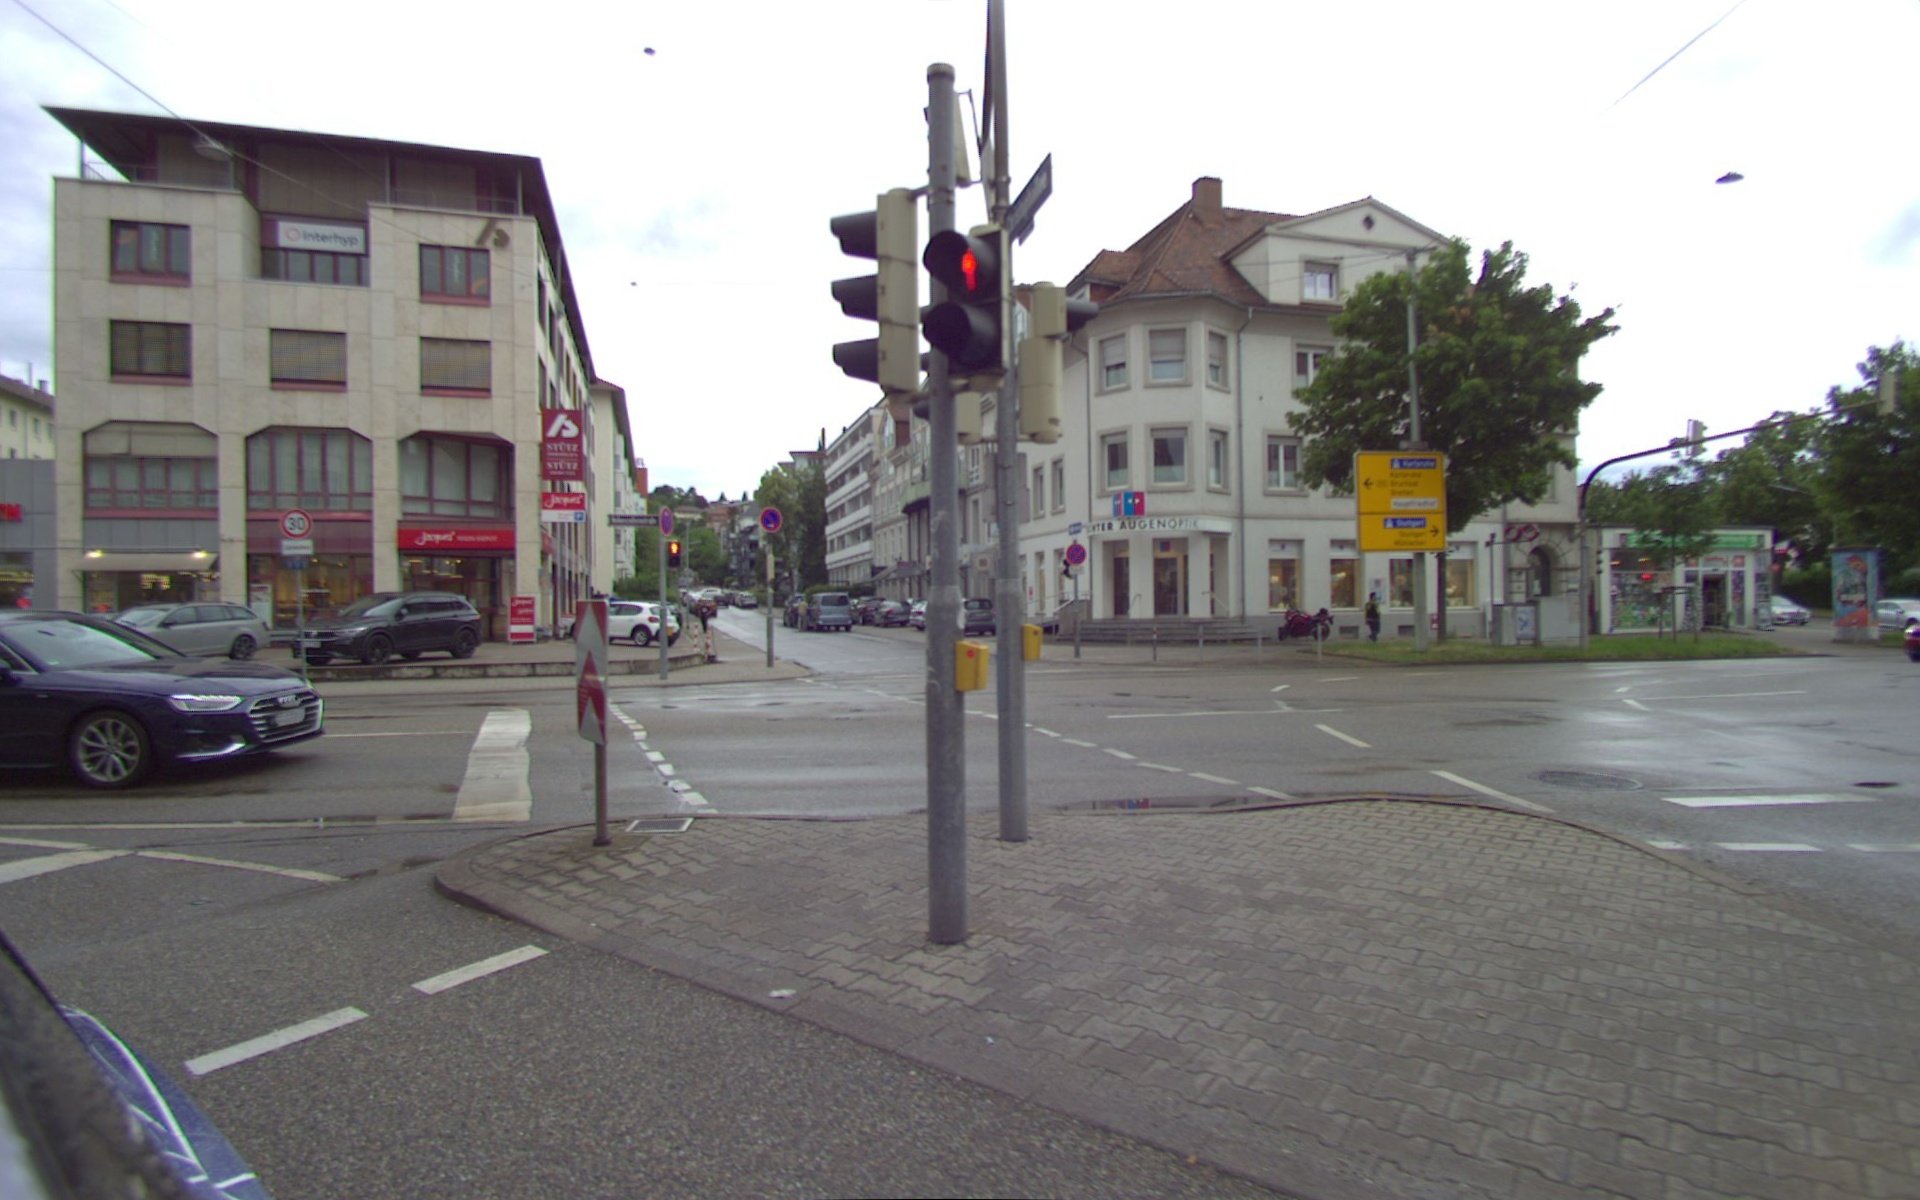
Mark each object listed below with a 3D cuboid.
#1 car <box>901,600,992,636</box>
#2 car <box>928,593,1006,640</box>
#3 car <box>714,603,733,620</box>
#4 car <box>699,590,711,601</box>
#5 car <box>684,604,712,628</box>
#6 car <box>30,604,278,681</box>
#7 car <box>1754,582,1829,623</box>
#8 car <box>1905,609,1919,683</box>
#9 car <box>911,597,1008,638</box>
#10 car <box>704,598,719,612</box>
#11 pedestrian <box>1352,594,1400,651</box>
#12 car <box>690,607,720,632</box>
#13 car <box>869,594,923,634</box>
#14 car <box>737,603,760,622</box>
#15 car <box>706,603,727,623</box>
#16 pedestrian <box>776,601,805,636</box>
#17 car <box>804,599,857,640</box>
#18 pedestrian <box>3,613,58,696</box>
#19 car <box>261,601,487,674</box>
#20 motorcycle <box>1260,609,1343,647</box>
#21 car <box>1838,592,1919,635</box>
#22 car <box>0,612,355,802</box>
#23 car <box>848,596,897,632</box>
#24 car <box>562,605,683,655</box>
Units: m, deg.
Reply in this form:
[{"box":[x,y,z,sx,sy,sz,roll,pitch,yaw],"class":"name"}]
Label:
[{"box":[-0.642,0.846,48.199,3.931,1.603,1.880,0,-1,-20],"class":"car"},{"box":[0.239,0.661,41.546,1.966,1.829,4.012,0,-1,-19],"class":"car"},{"box":[-28.394,1.411,121.668,1.966,2.029,4.012,-1,0,-17],"class":"car"},{"box":[-49.678,-0.877,196.976,1.966,2.029,4.012,-1,0,-17],"class":"car"},{"box":[-23.323,1.402,89.954,1.965,2.029,4.013,-1,0,-21],"class":"car"},{"box":[-18.313,0.886,23.315,1.863,1.538,4.451,0,0,7],"class":"car"},{"box":[43.439,0.151,52.986,1.988,2.029,3.968,-1,0,24],"class":"car"},{"box":[24.122,1.010,23.218,3.931,1.697,1.856,-1,-2,-19],"class":"car"},{"box":[-0.037,0.783,45.911,3.931,1.743,2.006,0,-1,-20],"class":"car"},{"box":[-37.044,0.790,150.717,1.966,2.029,4.012,-1,0,-16],"class":"car"},{"box":[12.926,0.679,31.476,0.918,1.721,0.968,-1,0,-22],"class":"pedestrian"},{"box":[-21.206,1.615,84.190,1.965,2.029,4.013,-1,0,-21],"class":"car"},{"box":[-3.450,0.745,53.913,1.966,2.029,4.012,-1,-1,-17],"class":"car"},{"box":[-22.444,1.325,107.302,2.073,2.029,4.012,-1,0,-16],"class":"car"},{"box":[-26.315,1.375,109.299,2.073,2.029,4.012,-1,0,-16],"class":"car"},{"box":[-8.897,0.972,53.241,1.174,1.842,1.063,-1,-1,12],"class":"pedestrian"},{"box":[-6.826,1.020,52.863,1.966,2.029,4.012,-1,-1,-19],"class":"car"},{"box":[-18.074,1.044,19.691,0.500,1.541,0.765,0,1,-18],"class":"pedestrian"},{"box":[-13.355,0.813,23.424,1.937,1.517,4.407,-1,-1,17],"class":"car"},{"box":[11.285,0.919,33.458,2.546,1.187,0.723,-1,0,-12],"class":"motorcycle"},{"box":[41.908,0.569,44.603,1.968,1.807,4.559,-1,0,-10],"class":"car"},{"box":[-8.003,0.827,8.642,4.618,1.416,1.809,0,0,0],"class":"car"},{"box":[-5.163,0.836,59.459,1.966,2.029,4.012,-1,-1,-18],"class":"car"},{"box":[-11.625,0.989,34.906,3.729,1.511,1.573,2,0,18],"class":"car"}]
